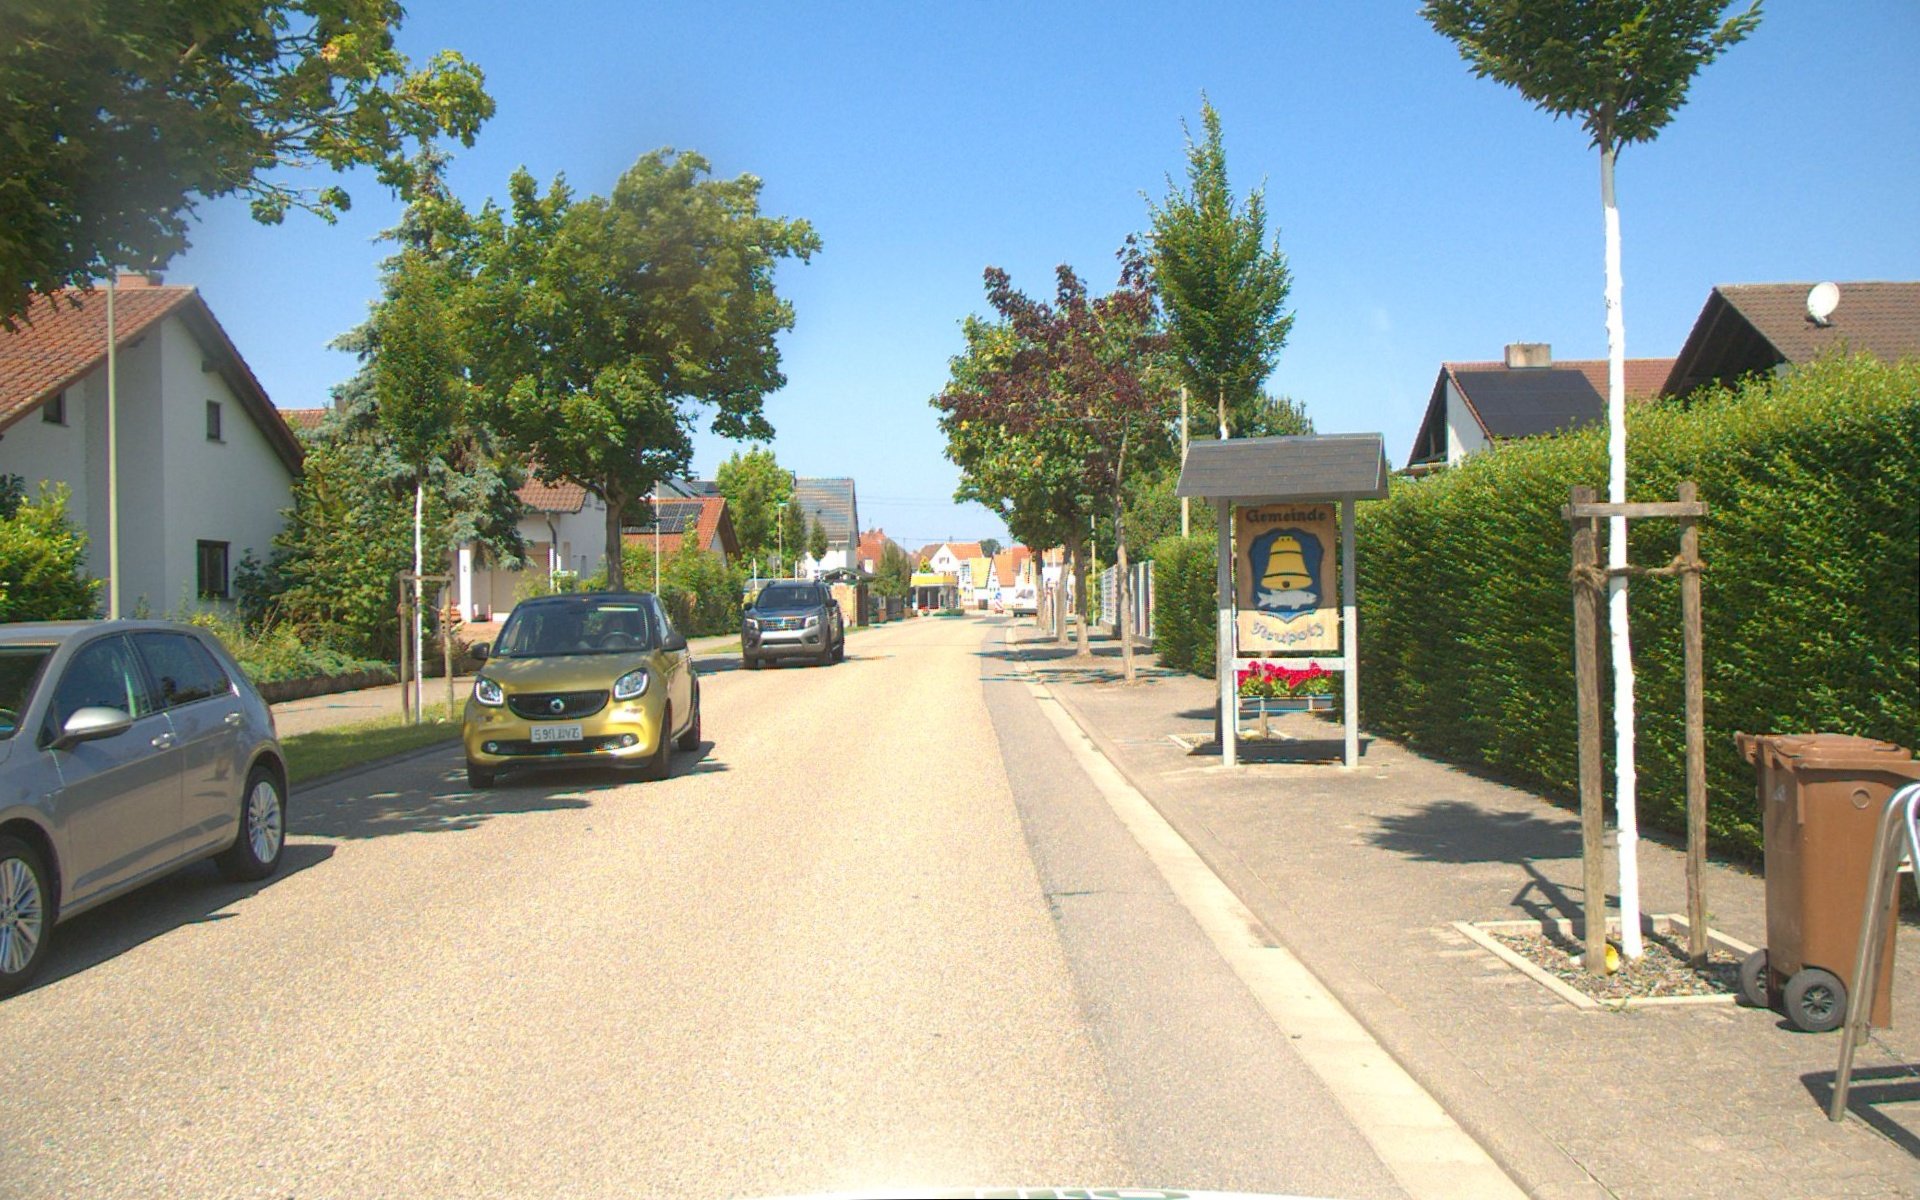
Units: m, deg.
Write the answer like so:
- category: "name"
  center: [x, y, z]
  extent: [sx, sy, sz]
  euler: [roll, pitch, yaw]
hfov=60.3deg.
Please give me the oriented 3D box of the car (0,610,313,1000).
- category: "car"
  center: [-4.537, 0.836, 7.583]
  extent: [1.614, 1.448, 4.078]
  euler: [-3, 0, -3]

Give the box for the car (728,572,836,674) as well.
- category: "car"
  center: [-3.453, 0.412, 32.644]
  extent: [1.799, 1.783, 3.794]
  euler: [-3, 1, -3]

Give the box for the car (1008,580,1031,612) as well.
- category: "car"
  center: [4.692, -0.327, 129.785]
  extent: [1.701, 2.474, 4.376]
  euler: [-2, 0, 2]

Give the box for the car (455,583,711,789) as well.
- category: "car"
  center: [-3.215, 0.666, 14.724]
  extent: [1.633, 1.550, 3.440]
  euler: [-2, 0, -4]
